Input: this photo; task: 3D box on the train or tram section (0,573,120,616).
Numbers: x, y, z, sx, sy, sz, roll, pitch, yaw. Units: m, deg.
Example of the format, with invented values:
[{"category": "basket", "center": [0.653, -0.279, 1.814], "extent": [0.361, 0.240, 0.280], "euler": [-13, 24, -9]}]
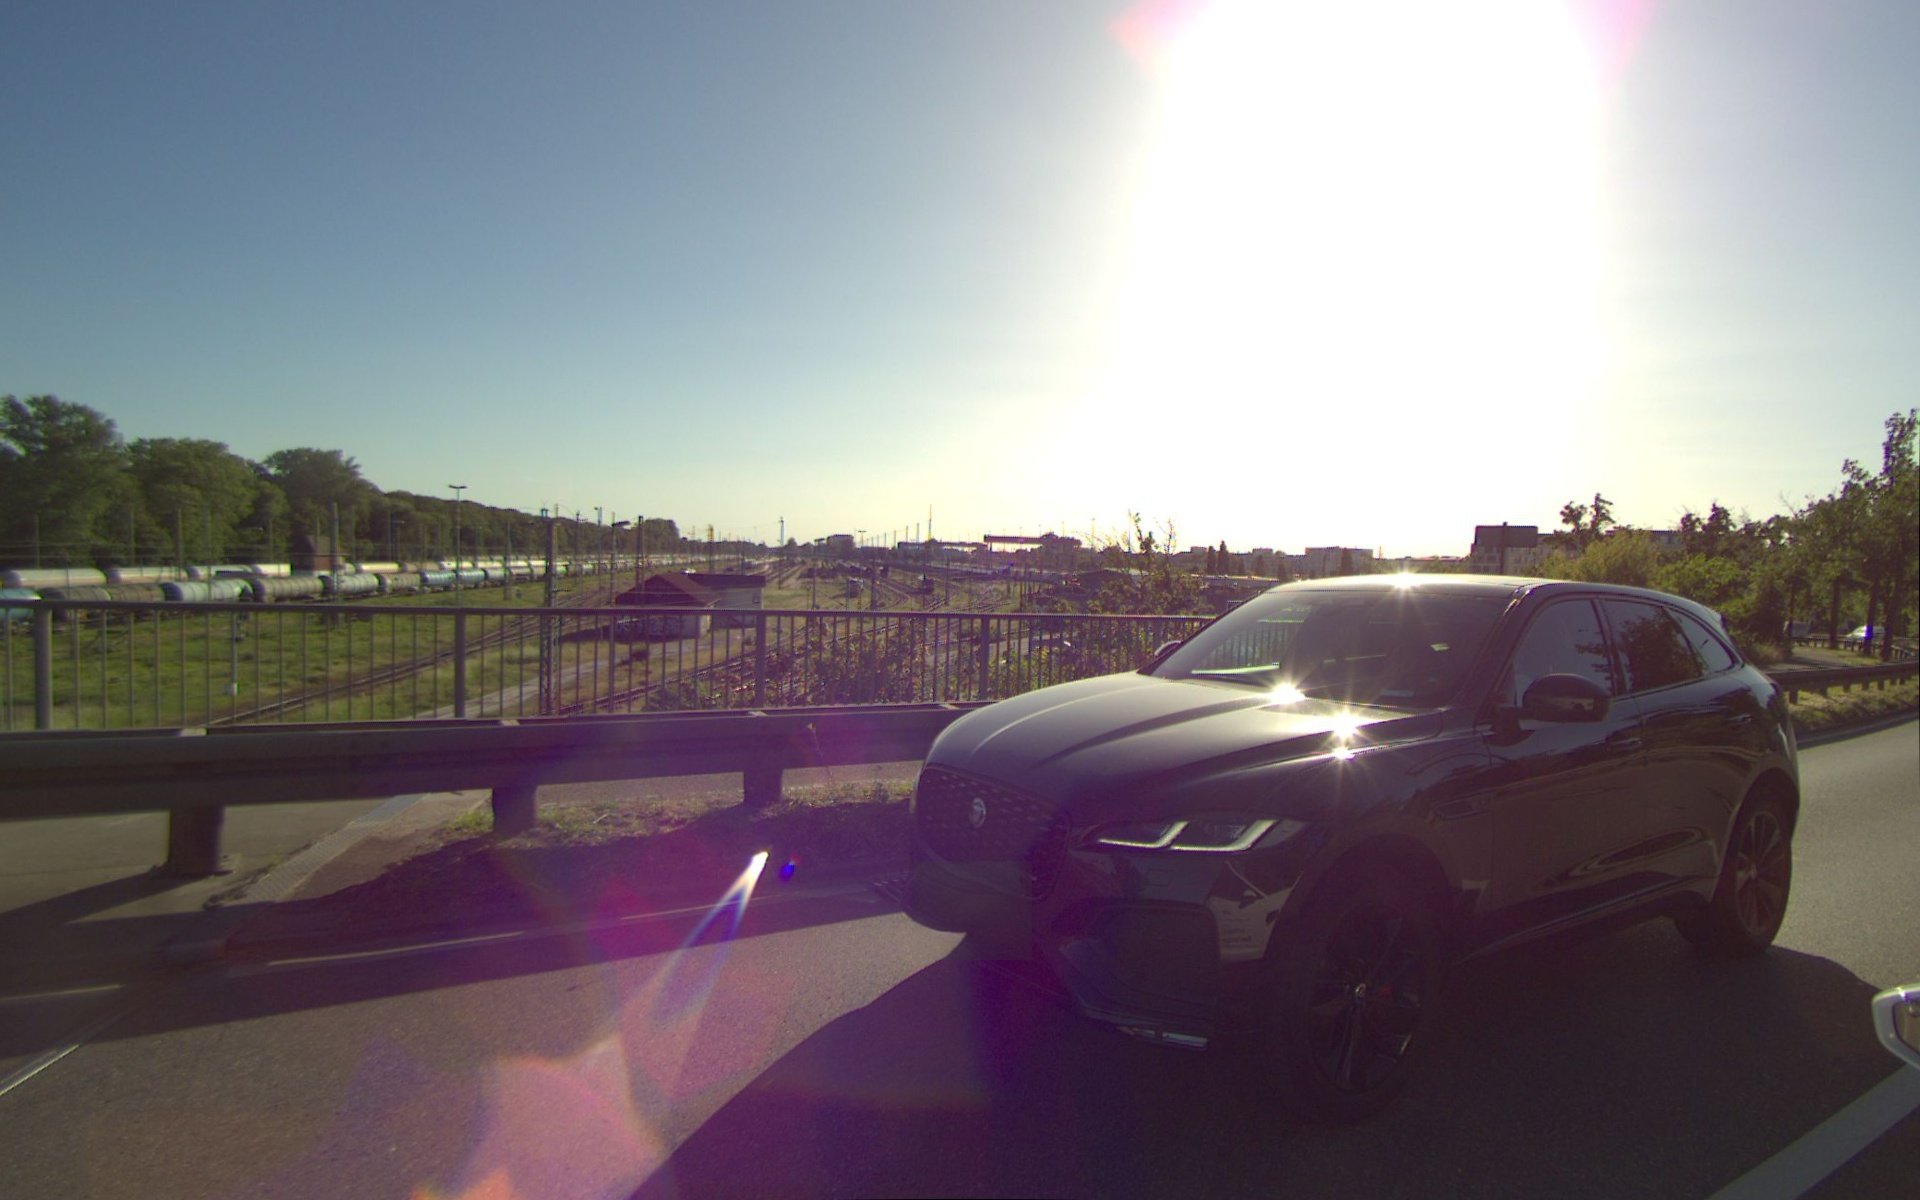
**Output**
[{"category": "train or tram section", "center": [-117.986, -0.718, 131.190], "extent": [3.975, 5.154, 17.840], "euler": [1, 0, -9]}]

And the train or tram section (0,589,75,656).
[{"category": "train or tram section", "center": [-82.388, 1.883, 84.073], "extent": [3.834, 5.593, 16.482], "euler": [1, 0, -8]}]

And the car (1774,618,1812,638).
[{"category": "car", "center": [73.601, 2.466, 88.802], "extent": [1.808, 1.576, 3.887], "euler": [2, 0, 29]}]

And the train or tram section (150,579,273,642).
[{"category": "train or tram section", "center": [-86.884, 1.060, 117.262], "extent": [3.834, 6.699, 16.482], "euler": [1, 0, -8]}]

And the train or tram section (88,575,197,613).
[{"category": "train or tram section", "center": [-120.682, -0.889, 148.861], "extent": [3.975, 5.154, 17.840], "euler": [1, 0, -9]}]

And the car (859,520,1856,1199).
[{"category": "car", "center": [1.962, 0.664, 4.447], "extent": [4.416, 1.665, 1.887], "euler": [1, 1, -33]}]

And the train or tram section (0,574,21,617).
[{"category": "train or tram section", "center": [-115.267, -0.545, 113.386], "extent": [3.975, 5.154, 18.159], "euler": [1, 0, -9]}]

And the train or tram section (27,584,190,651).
[{"category": "train or tram section", "center": [-84.624, 1.526, 100.650], "extent": [3.834, 6.090, 16.937], "euler": [1, 0, -8]}]

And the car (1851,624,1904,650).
[{"category": "car", "center": [63.344, 2.546, 69.389], "extent": [1.832, 1.606, 3.907], "euler": [2, 0, 30]}]
